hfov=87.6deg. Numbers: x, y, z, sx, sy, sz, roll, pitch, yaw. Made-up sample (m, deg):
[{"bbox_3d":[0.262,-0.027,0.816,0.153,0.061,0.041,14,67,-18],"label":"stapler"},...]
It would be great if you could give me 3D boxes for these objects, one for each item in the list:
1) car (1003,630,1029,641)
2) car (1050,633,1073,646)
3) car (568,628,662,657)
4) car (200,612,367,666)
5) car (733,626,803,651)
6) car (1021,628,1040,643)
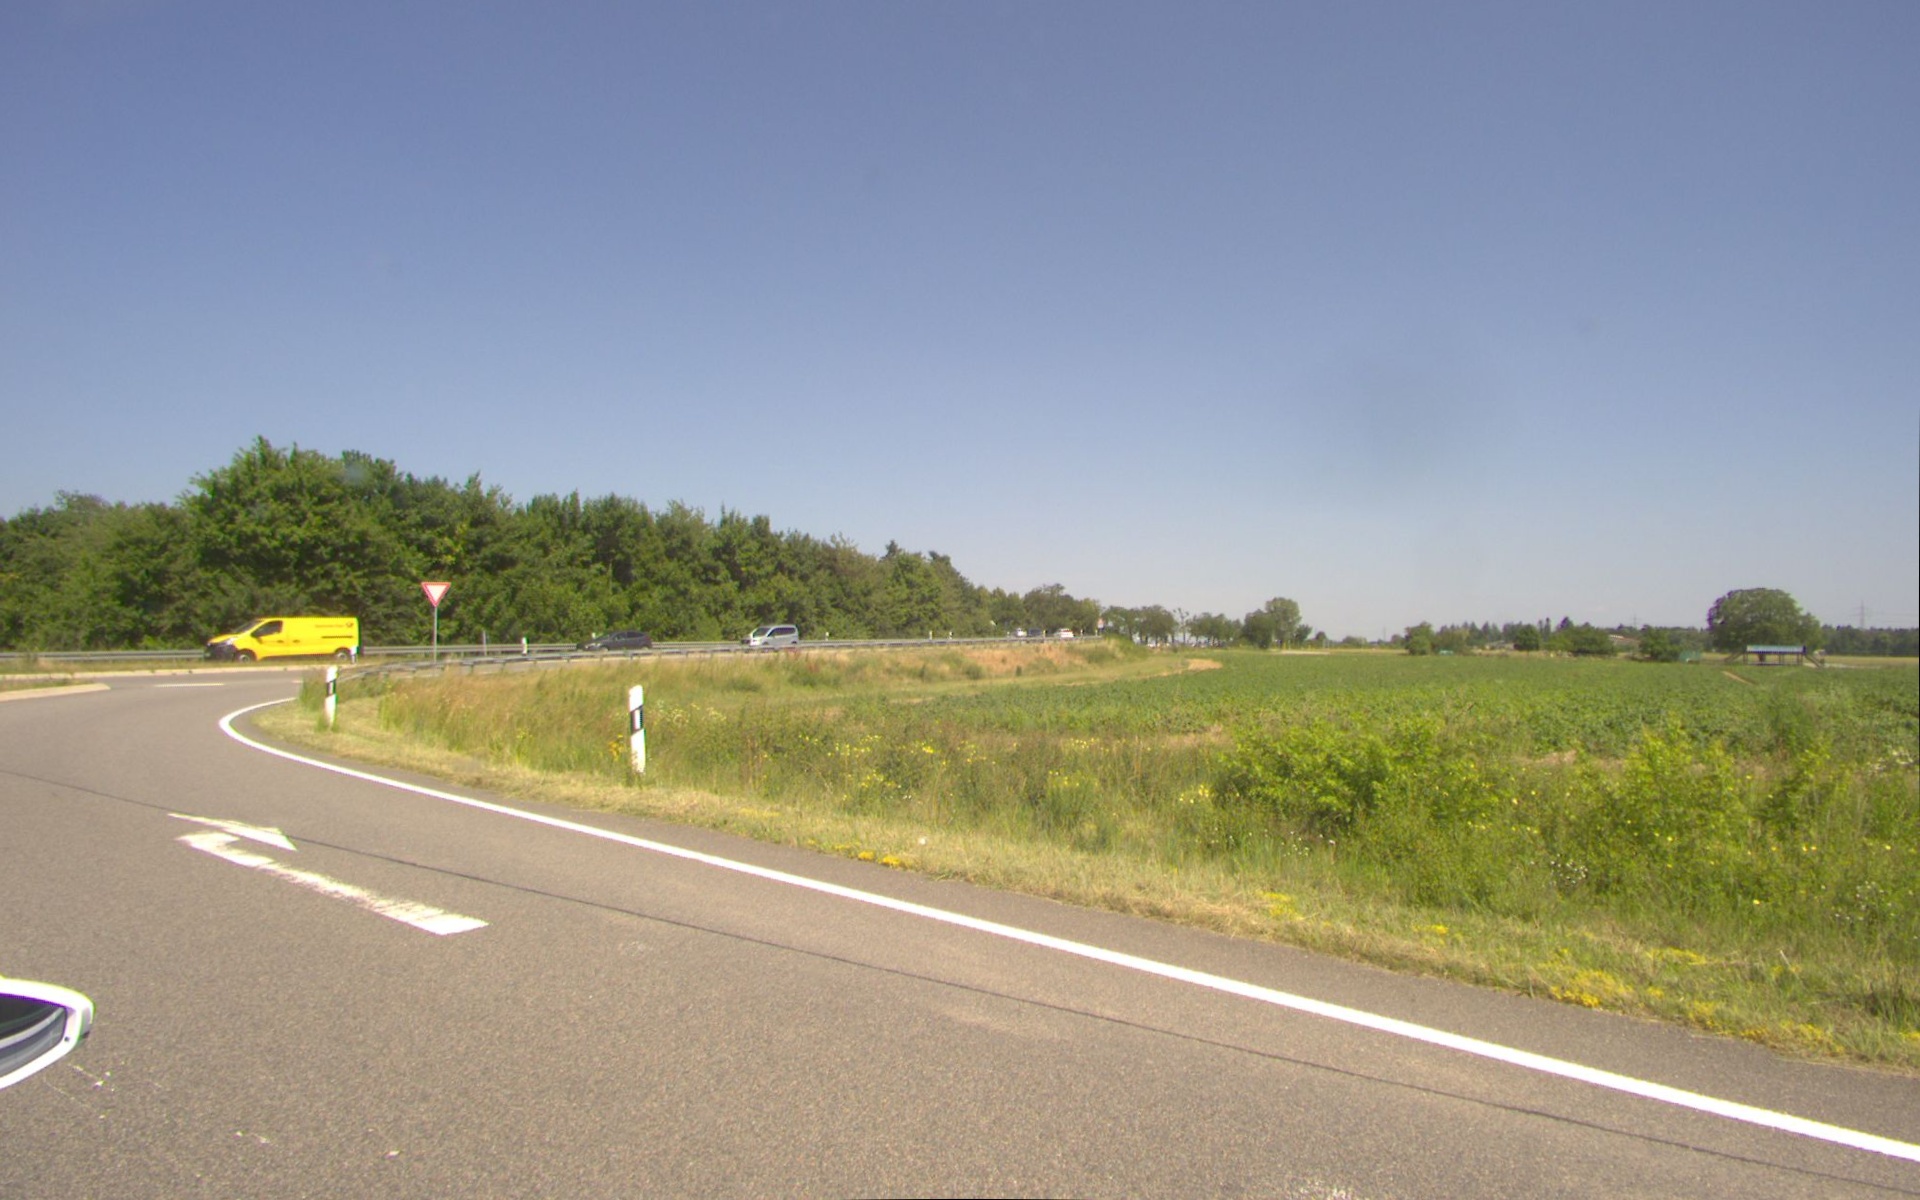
[{"bbox_3d":[7.742,4.933,139.174,1.717,1.587,3.669,1,-2,-35],"label":"car"},{"bbox_3d":[12.626,4.889,124.350,1.706,1.587,4.481,-1,-1,-10],"label":"car"},{"bbox_3d":[-18.547,2.262,54.008,1.828,1.533,4.671,-1,-2,34],"label":"car"},{"bbox_3d":[-27.348,1.567,40.701,1.974,2.039,5.308,-1,-2,35],"label":"car"},{"bbox_3d":[-12.346,2.476,64.701,1.826,1.533,4.677,-1,-2,30],"label":"car"},{"bbox_3d":[8.074,4.013,114.599,1.705,1.587,4.483,-1,-1,-2],"label":"car"}]
